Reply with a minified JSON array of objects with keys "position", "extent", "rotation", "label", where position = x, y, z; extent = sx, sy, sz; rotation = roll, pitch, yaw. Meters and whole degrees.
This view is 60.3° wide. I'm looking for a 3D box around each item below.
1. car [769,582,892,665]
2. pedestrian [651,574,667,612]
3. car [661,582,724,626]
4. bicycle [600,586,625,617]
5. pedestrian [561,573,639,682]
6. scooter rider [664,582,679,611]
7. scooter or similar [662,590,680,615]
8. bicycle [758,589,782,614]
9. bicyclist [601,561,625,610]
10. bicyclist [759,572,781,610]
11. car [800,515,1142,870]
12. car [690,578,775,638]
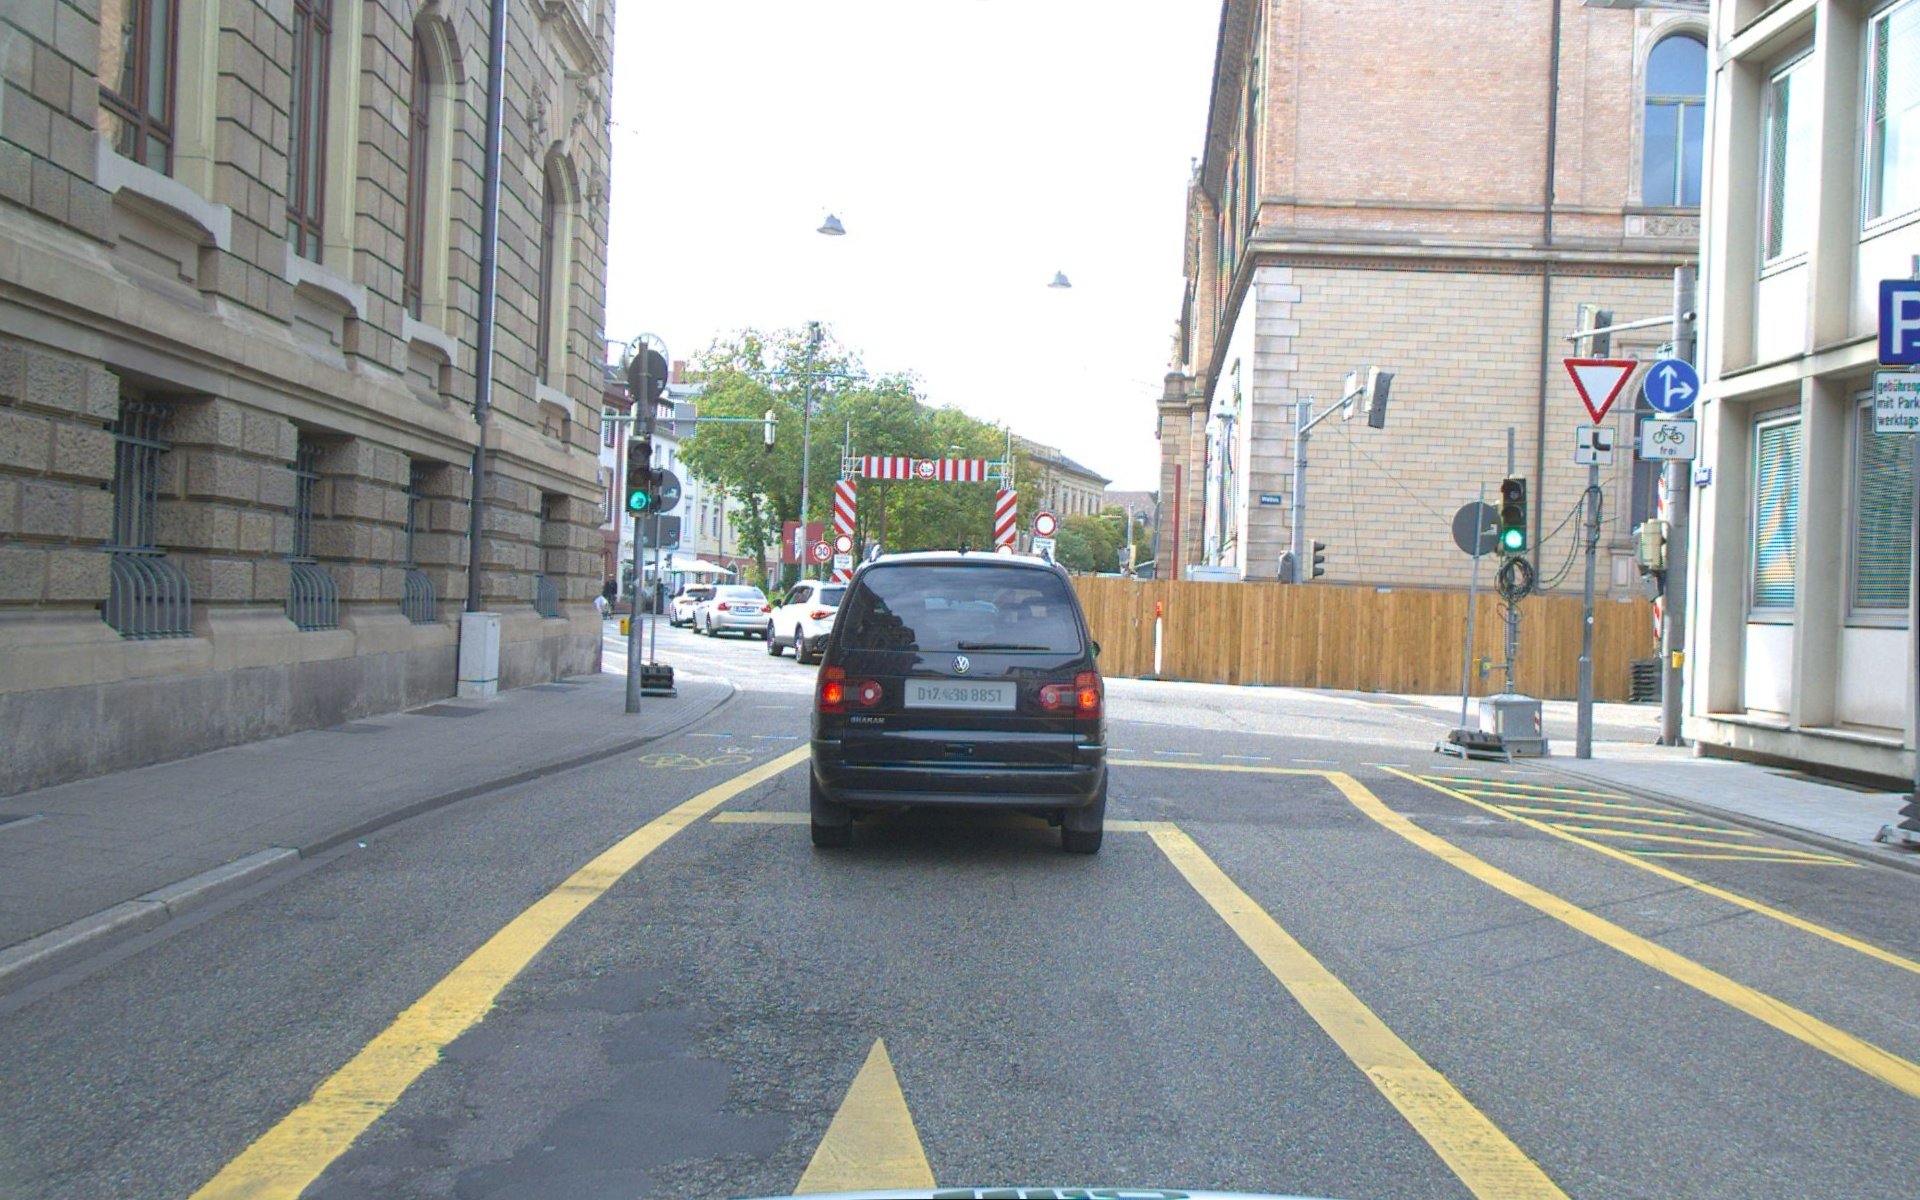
[{"position":[-2.779,0.467,34.669],"extent":[1.745,1.613,3.981],"rotation":[2,0,-17],"label":"car"},{"position":[-16.611,-0.388,91.216],"extent":[0.573,2.049,0.687],"rotation":[2,-1,11],"label":"pedestrian"},{"position":[-8.920,0.125,54.923],"extent":[1.622,1.344,3.660],"rotation":[2,0,-16],"label":"car"},{"position":[-14.743,0.059,70.233],"extent":[0.909,1.277,2.535],"rotation":[2,0,-10],"label":"bicycle"},{"position":[-6.403,0.483,29.455],"extent":[1.022,1.851,0.795],"rotation":[3,-1,12],"label":"pedestrian"},{"position":[-15.282,-0.159,87.619],"extent":[0.587,1.516,0.679],"rotation":[2,-1,2],"label":"scooter rider"},{"position":[-15.298,0.133,87.561],"extent":[0.587,1.277,1.552],"rotation":[2,-1,2],"label":"scooter or similar"},{"position":[-9.242,0.083,80.516],"extent":[0.946,1.131,2.788],"rotation":[2,0,-3],"label":"bicycle"},{"position":[-14.728,-0.610,70.228],"extent":[0.909,1.997,1.103],"rotation":[2,-1,-10],"label":"bicyclist"},{"position":[-9.239,-0.440,80.480],"extent":[0.946,1.813,0.985],"rotation":[2,-1,-3],"label":"bicyclist"},{"position":[0.071,0.504,10.855],"extent":[1.753,1.821,4.103],"rotation":[2,0,0],"label":"car"},{"position":[-6.380,0.212,46.022],"extent":[1.676,1.527,3.980],"rotation":[2,0,-17],"label":"car"}]
